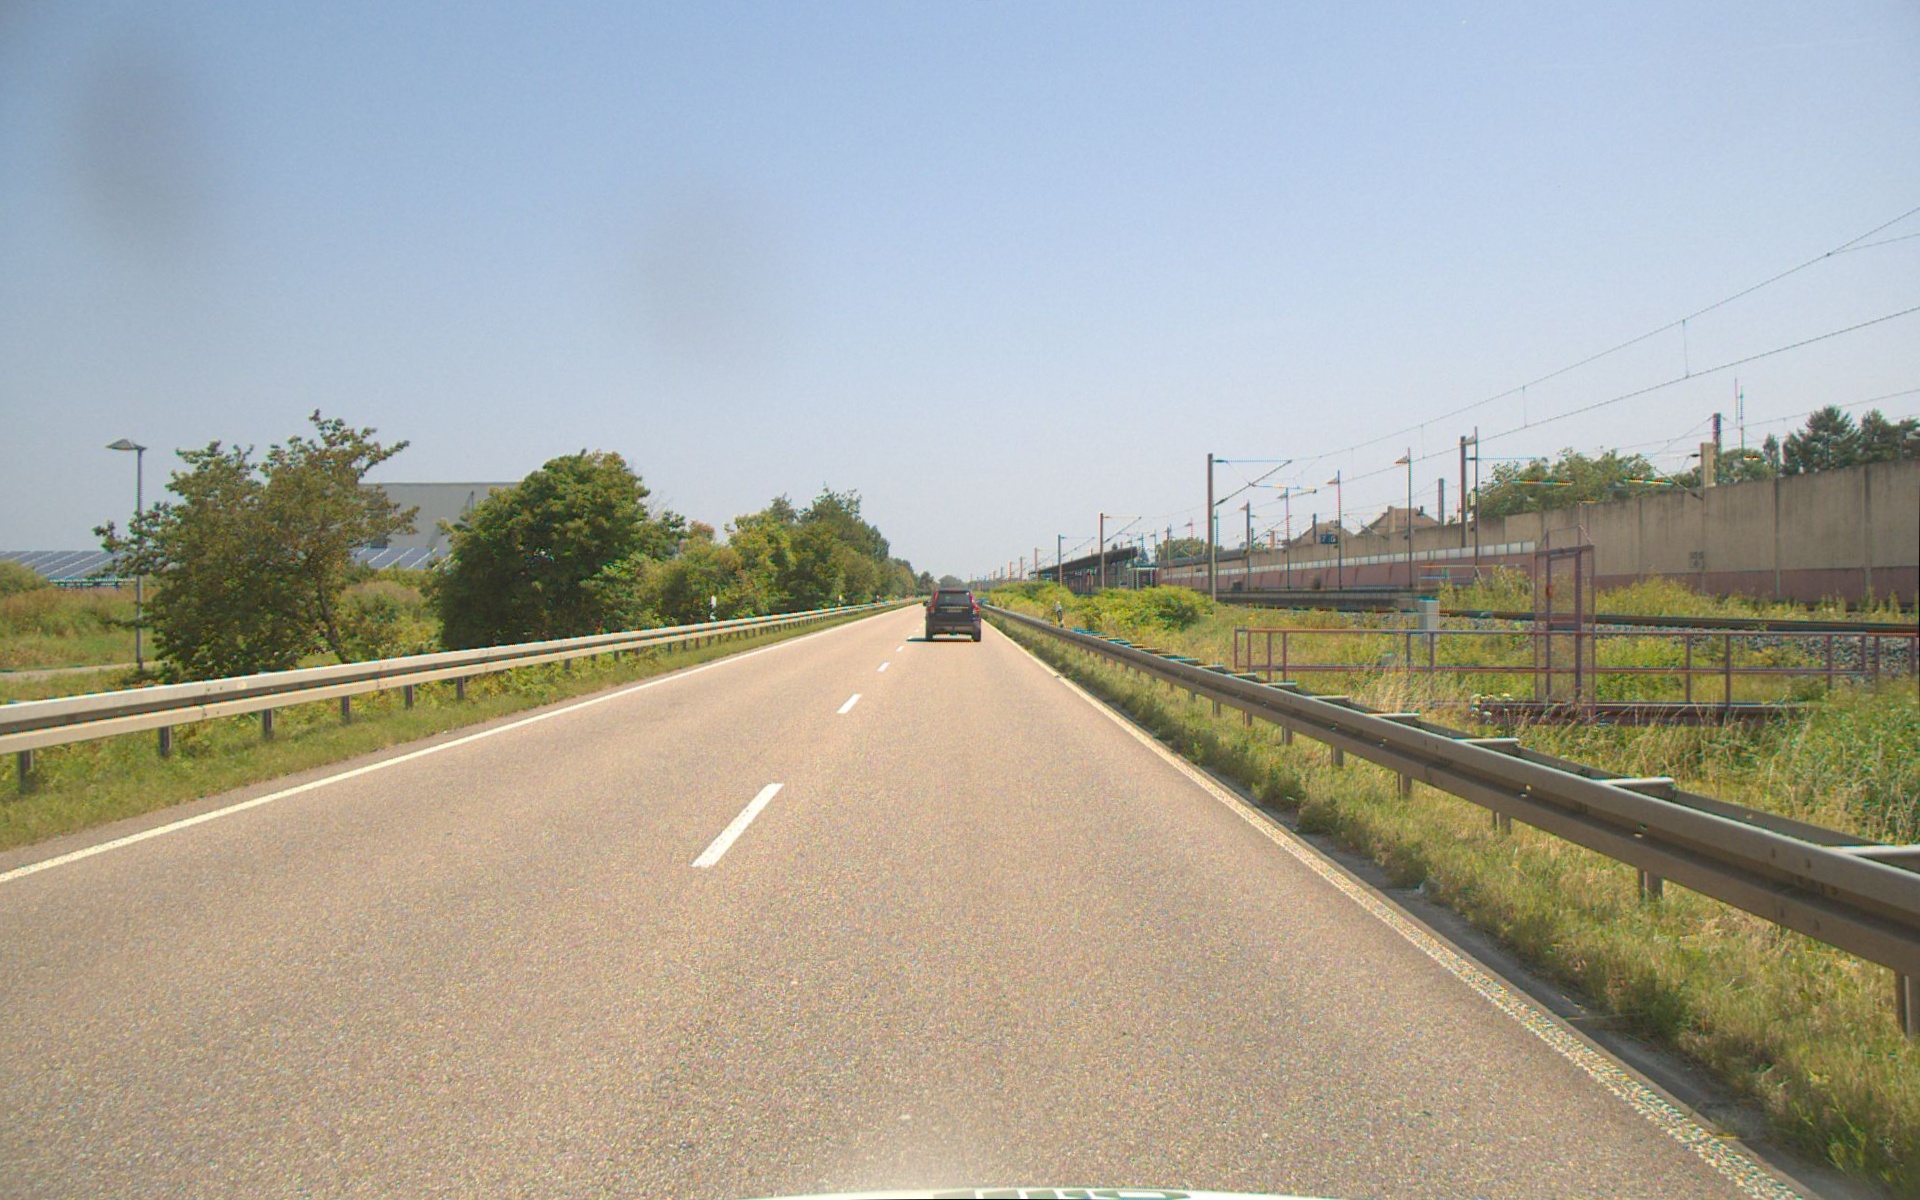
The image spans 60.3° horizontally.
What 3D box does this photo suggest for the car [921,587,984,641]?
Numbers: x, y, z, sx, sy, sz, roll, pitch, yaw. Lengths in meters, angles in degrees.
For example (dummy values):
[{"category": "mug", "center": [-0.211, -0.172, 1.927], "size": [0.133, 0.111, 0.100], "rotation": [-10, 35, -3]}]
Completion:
[{"category": "car", "center": [-0.285, 0.458, 55.724], "size": [1.954, 1.730, 3.998], "rotation": [0, 0, -3]}]
